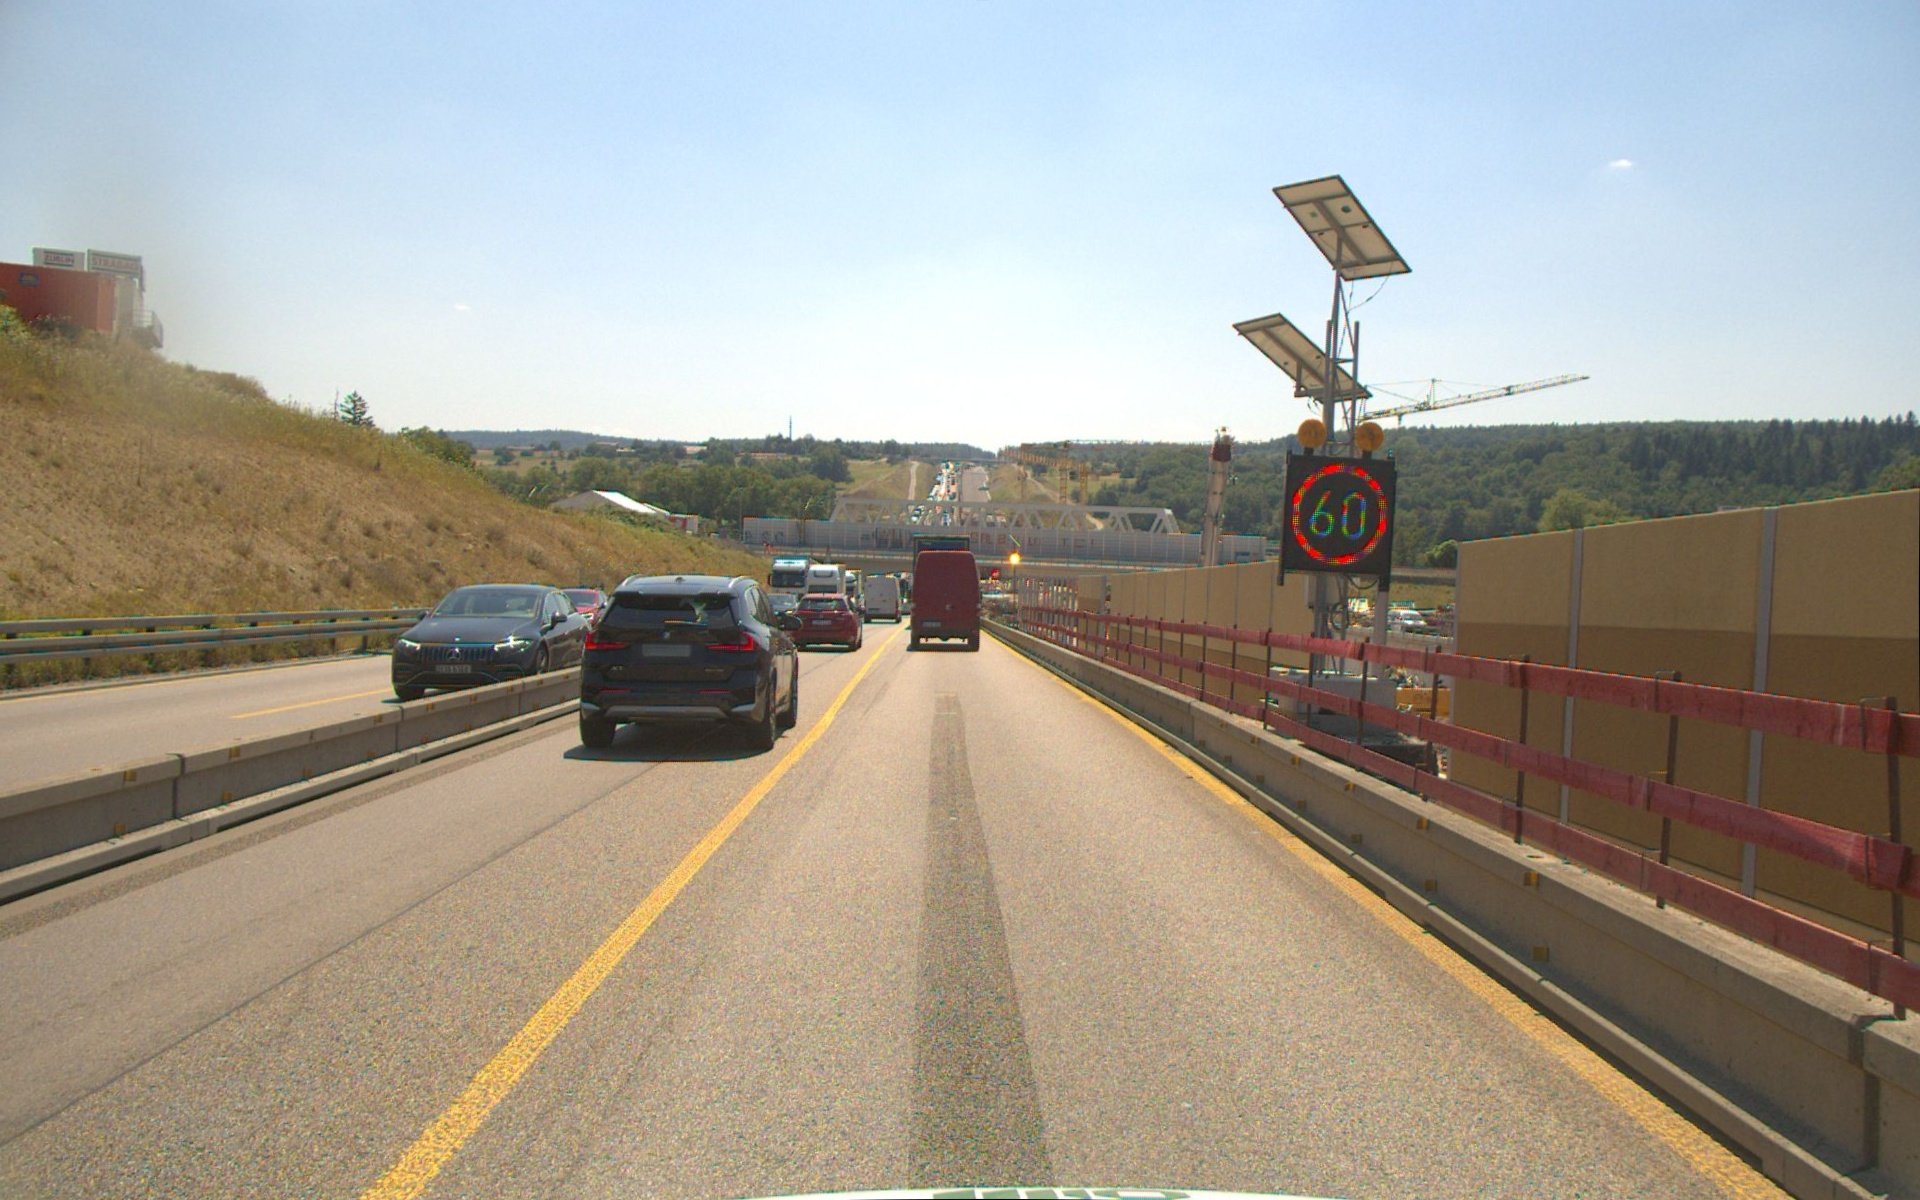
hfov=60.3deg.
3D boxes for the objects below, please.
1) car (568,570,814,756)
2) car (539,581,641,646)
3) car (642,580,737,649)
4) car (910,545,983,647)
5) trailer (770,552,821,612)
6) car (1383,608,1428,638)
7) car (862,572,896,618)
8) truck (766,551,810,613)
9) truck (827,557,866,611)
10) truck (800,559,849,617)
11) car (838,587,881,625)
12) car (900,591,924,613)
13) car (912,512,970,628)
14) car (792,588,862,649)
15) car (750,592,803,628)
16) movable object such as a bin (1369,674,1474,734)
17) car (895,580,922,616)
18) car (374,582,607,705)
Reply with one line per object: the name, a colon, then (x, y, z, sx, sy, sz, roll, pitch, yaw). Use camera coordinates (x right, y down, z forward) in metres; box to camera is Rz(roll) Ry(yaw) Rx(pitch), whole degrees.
car: (-2.582, 0.547, 16.926, 1.841, 1.646, 4.498, 0, 0, -1)
car: (-9.831, 0.323, 44.279, 1.650, 1.613, 5.125, 1, 0, -1)
car: (-7.161, 0.357, 44.211, 1.807, 1.694, 4.687, 1, 0, -1)
car: (-0.407, -0.109, 46.850, 1.948, 2.737, 4.622, 0, 0, -1)
trailer: (-11.954, -1.289, 121.219, 2.643, 4.095, 13.698, 1, 0, -1)
car: (33.065, 1.689, 122.930, 1.770, 2.049, 4.822, 1, 0, -3)
car: (-4.461, -0.293, 91.705, 1.740, 2.484, 4.205, 0, 0, -1)
truck: (-11.801, -1.248, 113.922, 2.643, 4.120, 3.954, 1, 0, -1)
truck: (-8.437, -1.178, 123.460, 2.537, 3.824, 7.356, 1, 0, -1)
truck: (-8.274, -0.729, 101.798, 2.487, 3.433, 7.036, 1, 0, -1)
car: (-4.585, 0.265, 75.907, 1.802, 1.683, 4.163, 0, 0, -2)
car: (-3.609, 0.138, 125.433, 1.740, 1.699, 4.028, 0, 0, -1)
car: (-0.923, -1.366, 78.865, 2.568, 5.120, 10.394, 0, 0, -1)
car: (-3.496, 0.453, 43.935, 1.741, 1.544, 4.203, 0, 0, -4)
car: (-7.633, 0.396, 69.076, 1.760, 1.452, 4.948, 1, 0, -1)
movable object such as a bin: (23.807, 5.307, 85.698, 3.099, 2.488, 7.894, 3, 0, 0)
car: (-3.446, -0.150, 111.791, 1.740, 2.370, 4.205, 0, 0, -1)
car: (-6.489, 0.540, 23.518, 1.915, 1.525, 5.089, 1, 0, -1)
